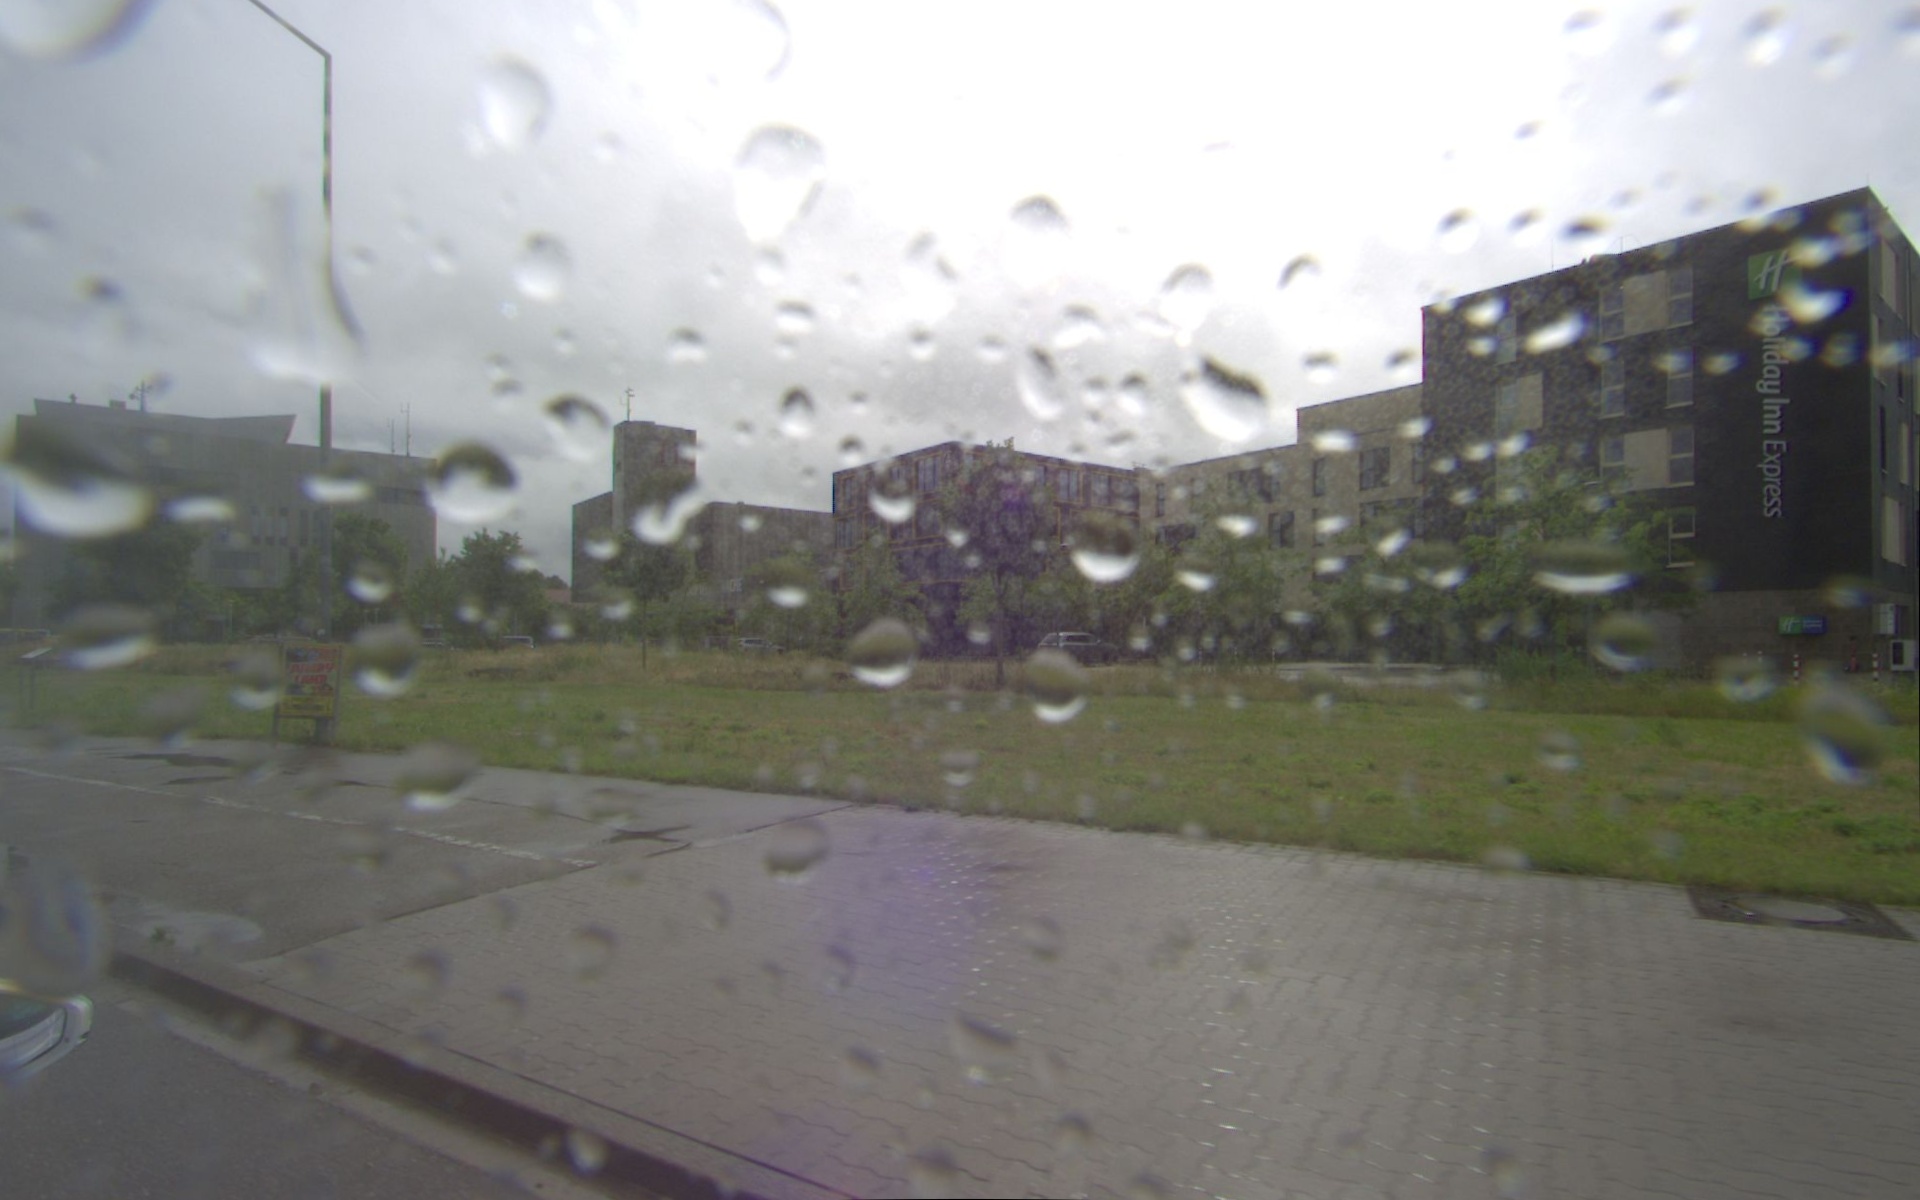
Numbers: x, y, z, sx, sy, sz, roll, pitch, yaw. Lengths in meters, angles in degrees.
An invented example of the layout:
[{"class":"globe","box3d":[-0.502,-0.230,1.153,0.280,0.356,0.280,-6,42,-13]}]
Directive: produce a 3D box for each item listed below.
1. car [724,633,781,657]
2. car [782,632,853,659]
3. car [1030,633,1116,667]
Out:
[{"class":"car","box3d":[-15.979,3.471,77.140,3.949,1.742,1.758,2,-2,-35]},{"class":"car","box3d":[-9.827,3.133,69.185,4.500,1.784,1.987,2,-2,-35]},{"class":"car","box3d":[5.610,2.463,49.545,4.165,1.577,1.656,1,-2,-35]}]
